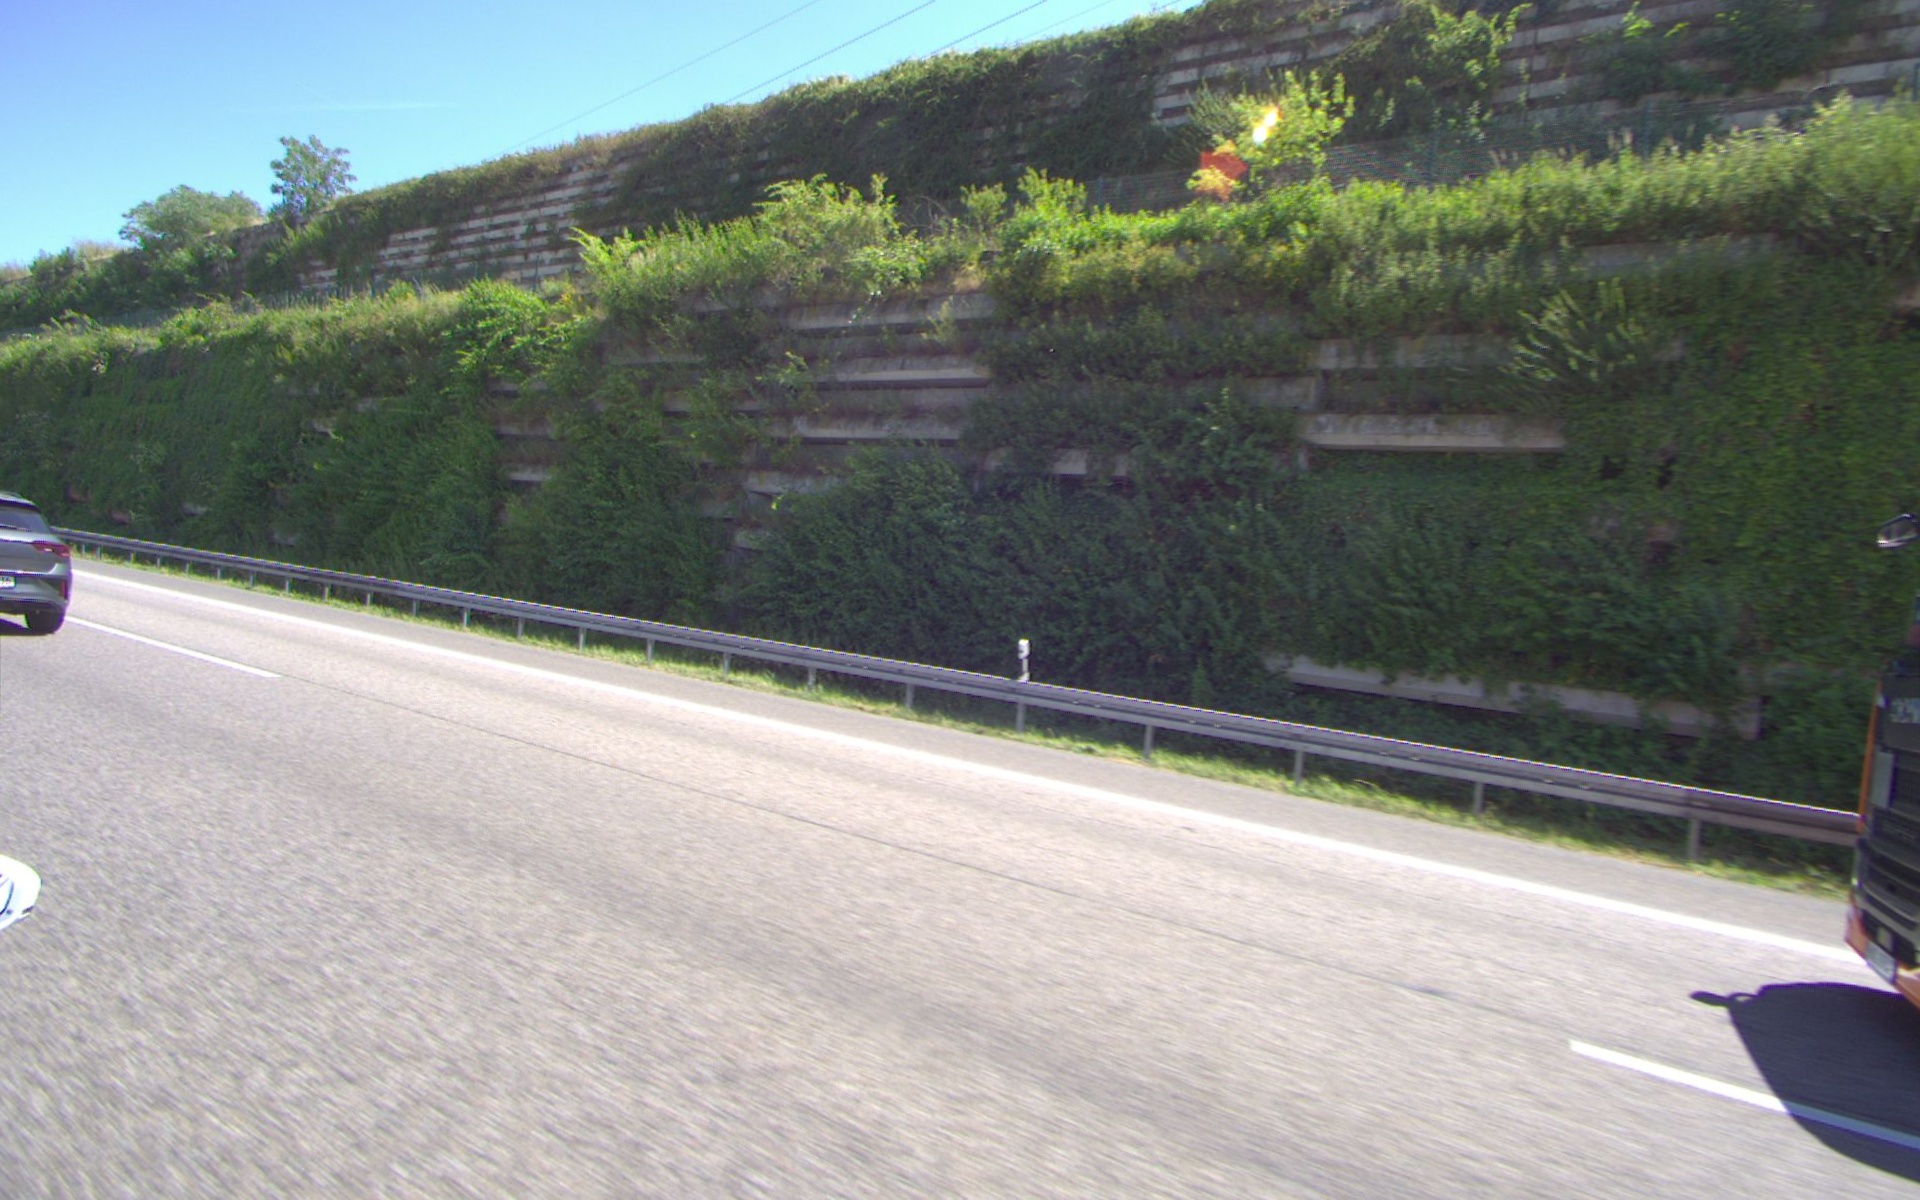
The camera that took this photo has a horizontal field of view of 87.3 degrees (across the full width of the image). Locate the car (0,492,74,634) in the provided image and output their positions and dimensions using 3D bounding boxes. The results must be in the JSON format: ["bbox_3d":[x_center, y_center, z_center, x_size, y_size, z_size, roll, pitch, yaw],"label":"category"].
[{"bbox_3d":[-12.428,-0.628,11.909,3.929,1.544,1.751,6,0,32],"label":"car"}]

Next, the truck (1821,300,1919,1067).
[{"bbox_3d":[7.661,0.477,3.467,6.418,4.041,2.621,7,0,32],"label":"truck"}]
